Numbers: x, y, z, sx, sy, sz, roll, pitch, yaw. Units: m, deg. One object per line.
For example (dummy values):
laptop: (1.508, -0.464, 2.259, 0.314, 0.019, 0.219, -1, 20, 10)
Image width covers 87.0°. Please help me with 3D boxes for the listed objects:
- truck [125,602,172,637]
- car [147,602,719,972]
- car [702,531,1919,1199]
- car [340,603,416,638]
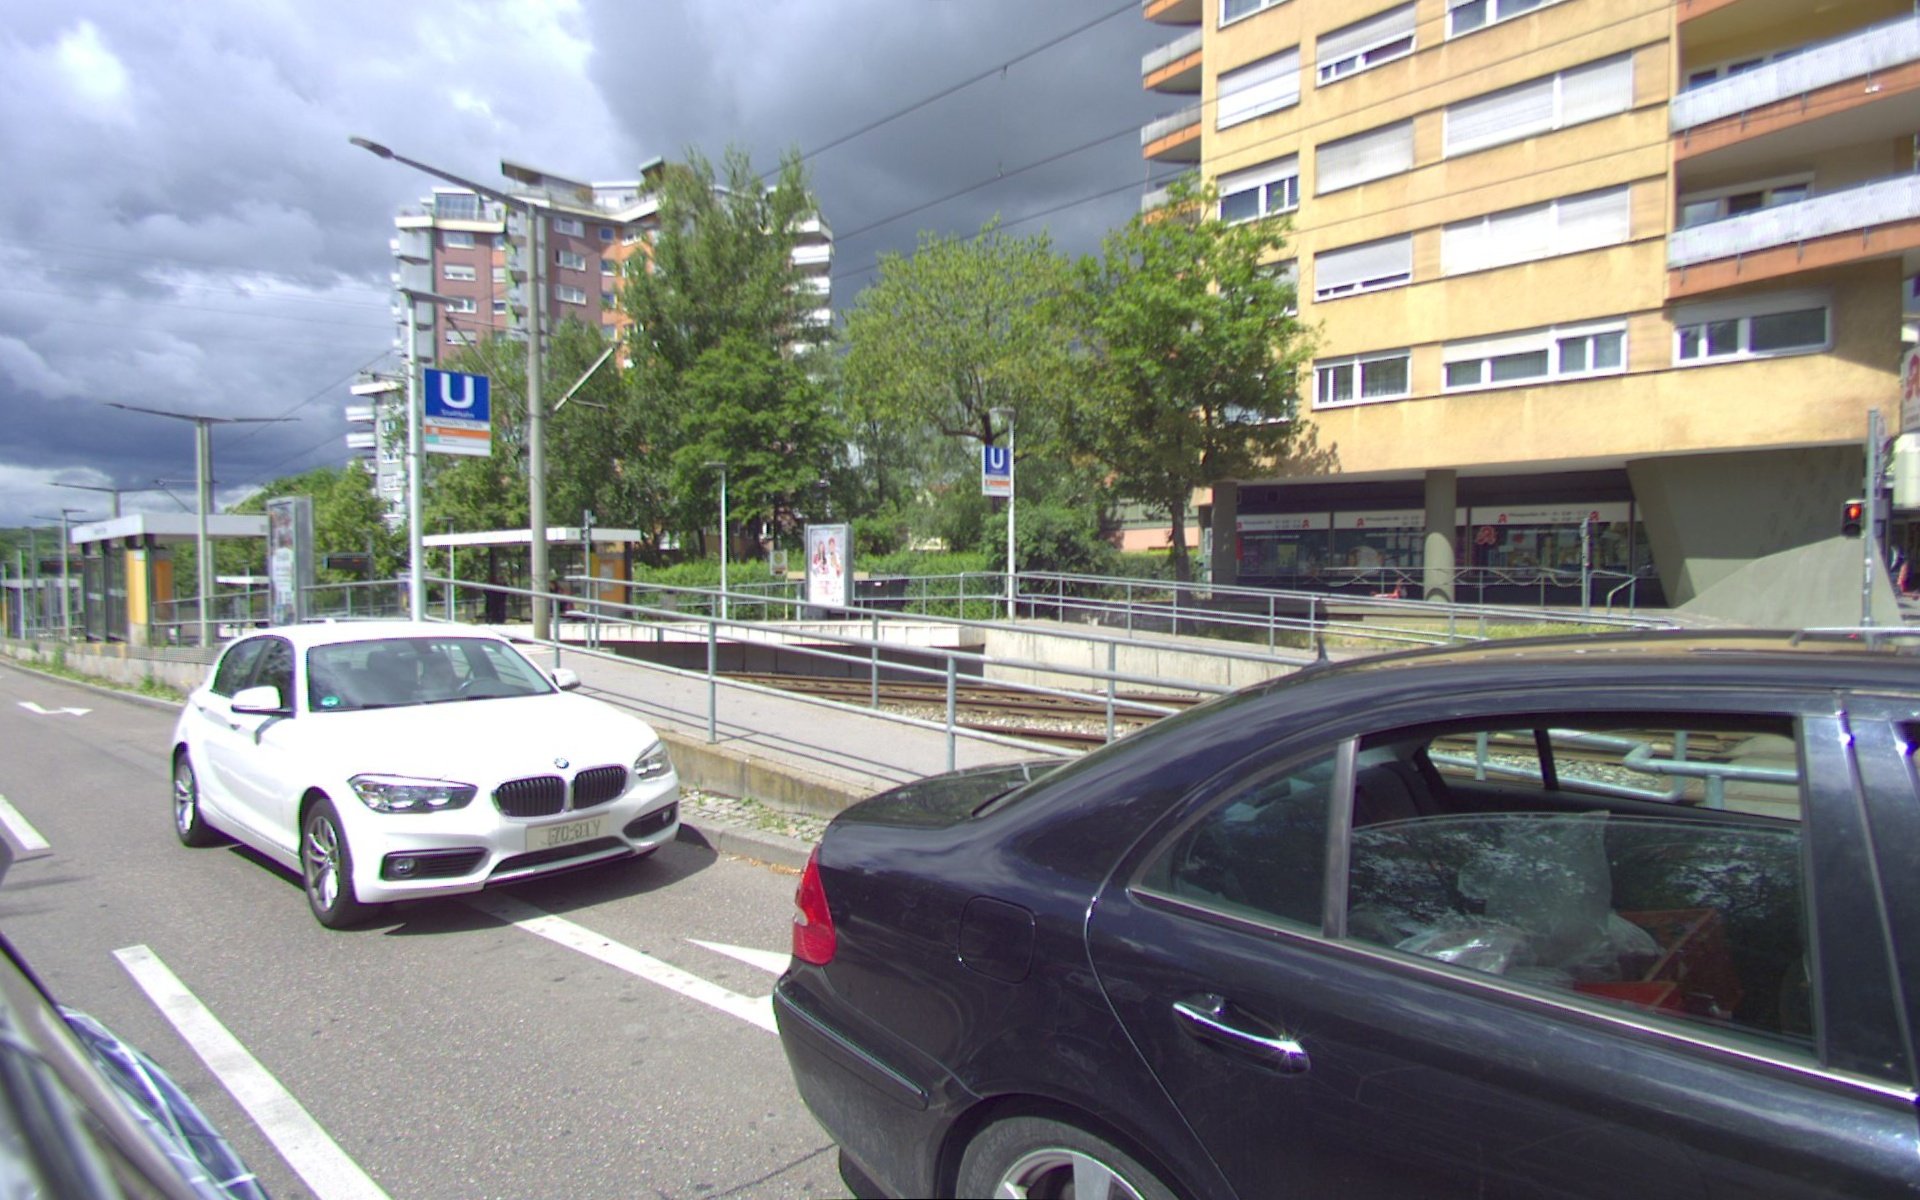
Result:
truck: (-78.861, 1.959, 98.336, 7.260, 3.247, 2.389, -2, -1, 42)
car: (-3.351, 0.781, 6.067, 3.998, 1.472, 1.710, -1, 0, 41)
car: (1.693, 0.658, 1.404, 4.542, 1.472, 1.710, -1, 0, 41)
car: (-28.609, 0.992, 49.705, 4.459, 1.647, 1.972, -1, -2, 42)
